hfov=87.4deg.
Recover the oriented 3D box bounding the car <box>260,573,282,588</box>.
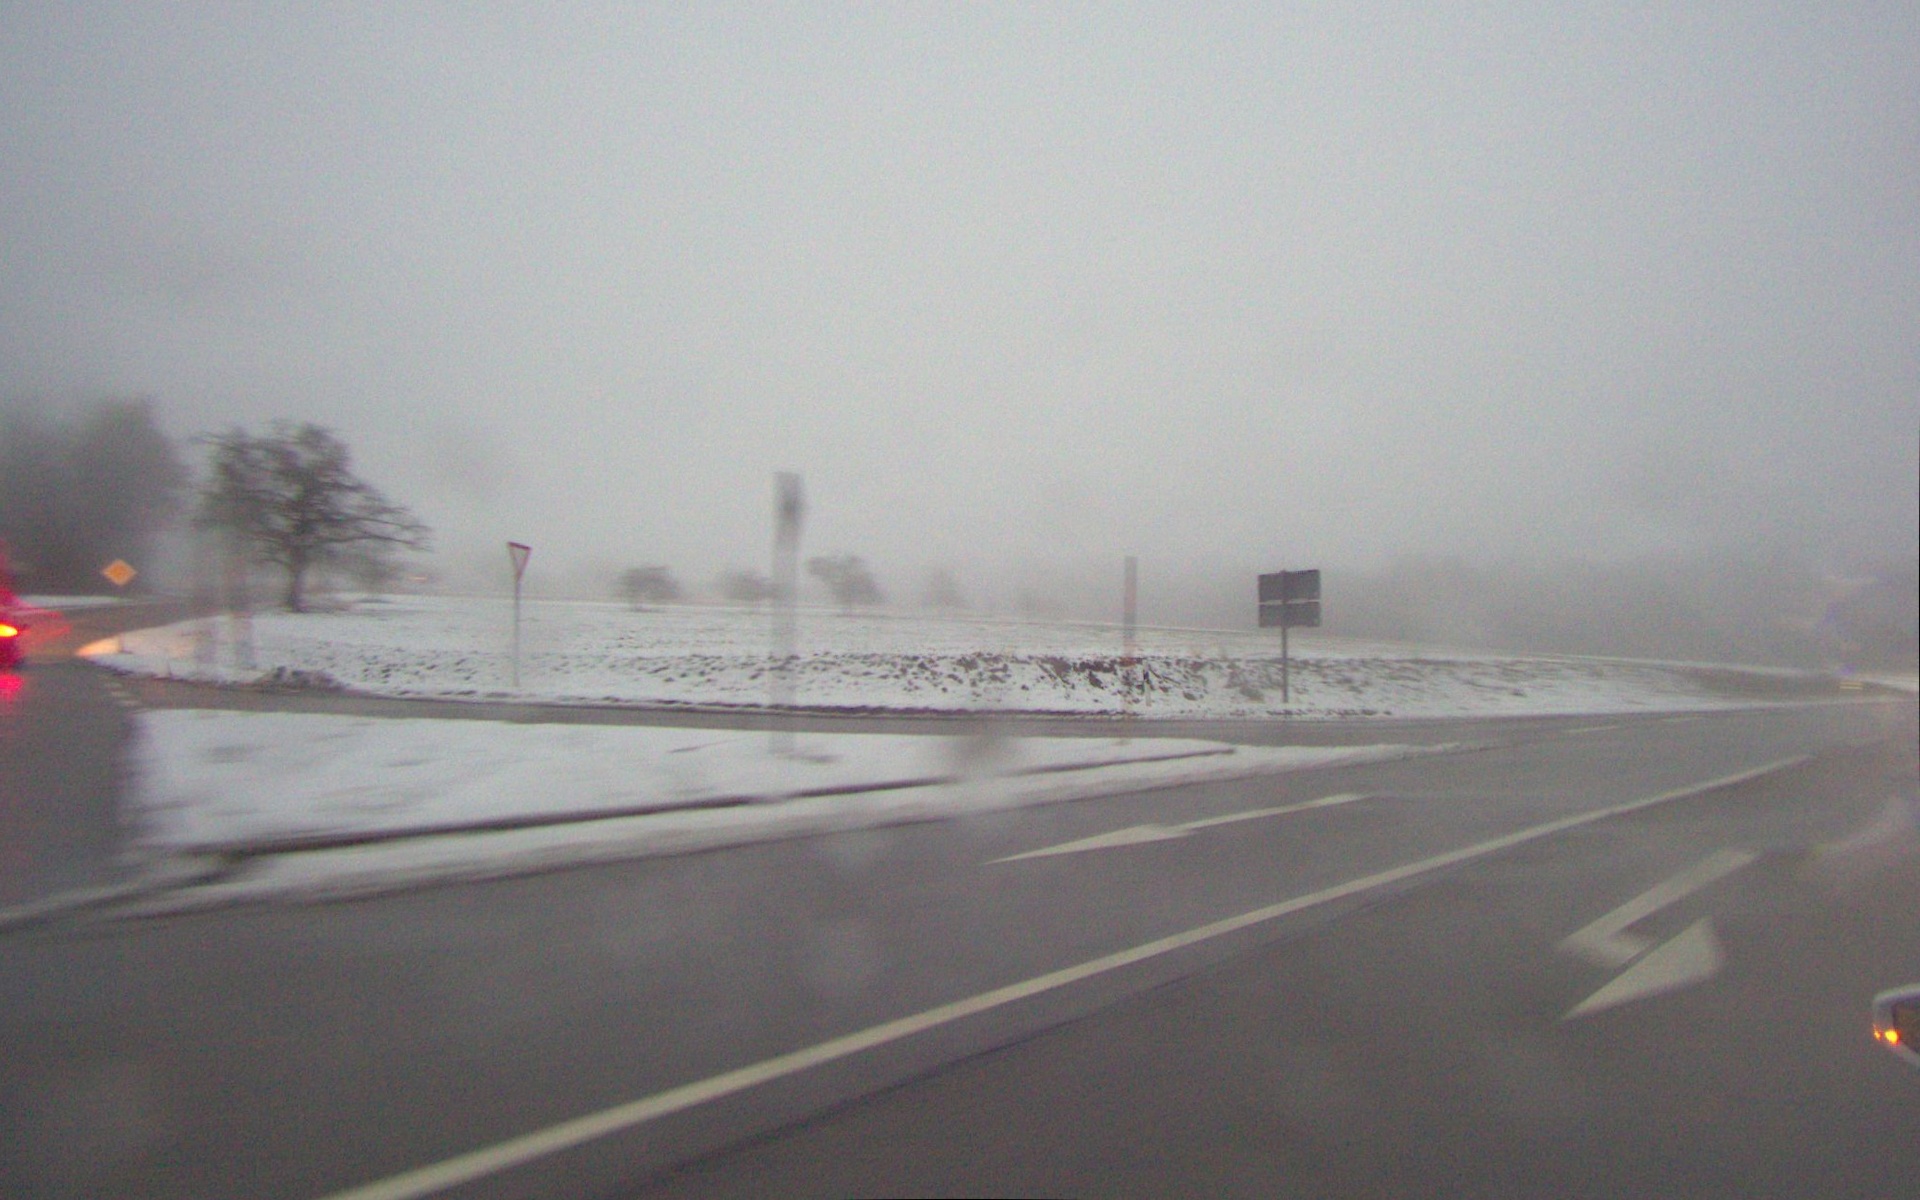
[{"bbox_3d":[-87.240,-2.432,127.256,1.976,1.831,3.969,1,0,-29],"label":"car"}]

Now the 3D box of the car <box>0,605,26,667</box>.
[{"bbox_3d":[-24.068,0.851,24.629,1.565,1.472,3.372,1,-1,-41],"label":"car"}]
